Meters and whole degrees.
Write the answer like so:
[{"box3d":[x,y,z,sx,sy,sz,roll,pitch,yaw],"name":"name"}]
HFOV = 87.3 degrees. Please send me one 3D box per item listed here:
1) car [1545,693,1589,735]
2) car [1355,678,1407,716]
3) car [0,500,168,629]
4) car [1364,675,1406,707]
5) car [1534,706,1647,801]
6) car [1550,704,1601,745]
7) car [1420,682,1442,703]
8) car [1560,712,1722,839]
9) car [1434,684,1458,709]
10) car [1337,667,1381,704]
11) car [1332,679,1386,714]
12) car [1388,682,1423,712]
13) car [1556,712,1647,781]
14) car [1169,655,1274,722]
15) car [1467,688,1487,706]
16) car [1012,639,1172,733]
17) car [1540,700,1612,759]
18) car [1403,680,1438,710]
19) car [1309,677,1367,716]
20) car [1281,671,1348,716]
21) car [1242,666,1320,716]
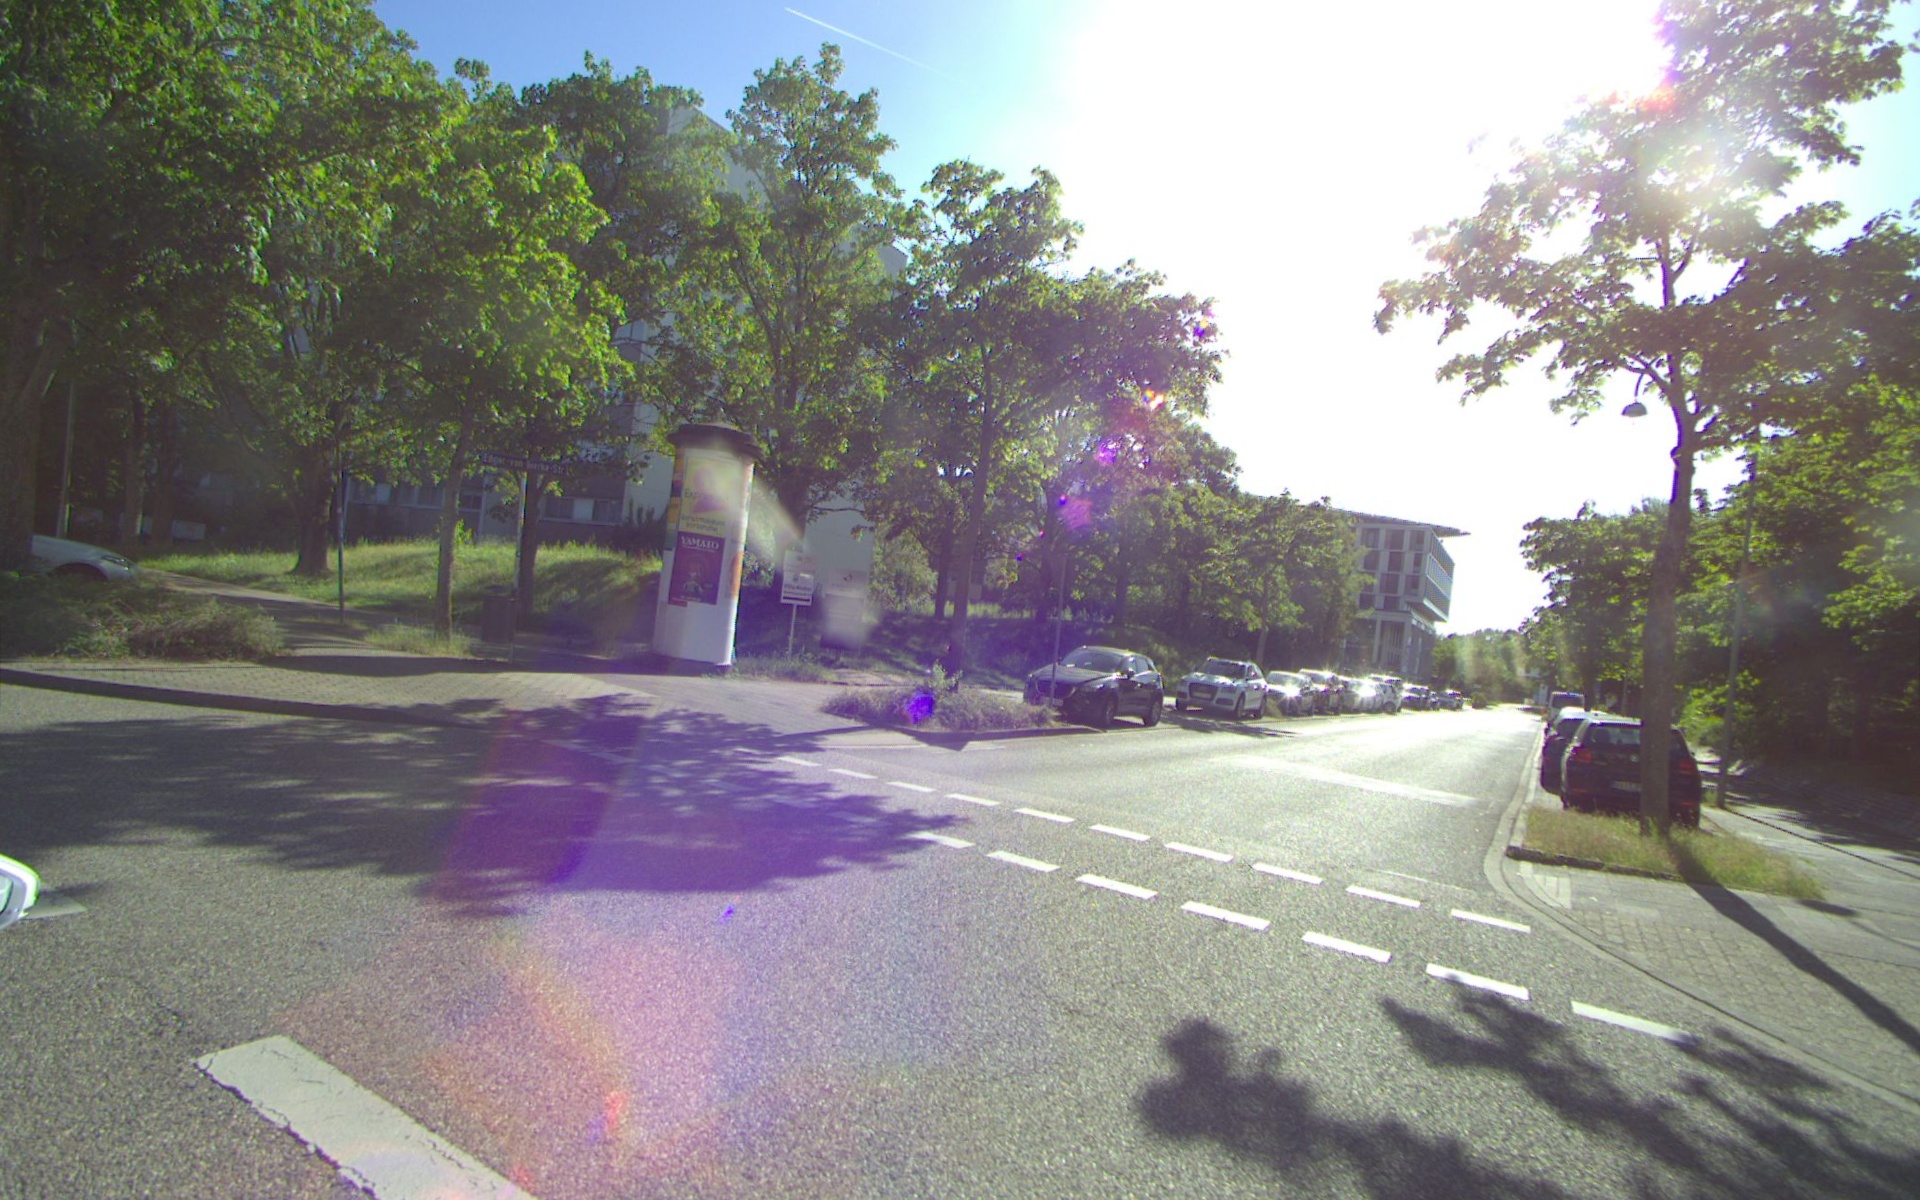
[{"box3d":[36.898,6.930,61.243,1.966,2.206,3.996,6,-2,30],"name":"car"},{"box3d":[23.652,5.445,56.427,1.966,1.820,4.446,6,-2,30],"name":"car"},{"box3d":[-13.311,-0.564,12.987,1.805,1.613,4.433,6,1,28],"name":"car"},{"box3d":[25.716,5.548,60.807,1.735,1.633,3.996,6,-2,30],"name":"car"},{"box3d":[12.557,2.993,20.203,1.623,1.486,3.853,6,-2,30],"name":"car"},{"box3d":[27.966,5.645,45.820,1.618,1.571,3.997,6,-2,29],"name":"car"},{"box3d":[51.655,10.115,110.358,1.964,2.037,4.000,6,-2,25],"name":"car"},{"box3d":[10.336,2.571,15.500,1.741,1.464,3.994,5,-3,32],"name":"car"},{"box3d":[44.535,8.861,92.152,1.648,1.955,3.768,6,-2,29],"name":"car"},{"box3d":[26.025,5.603,65.525,1.966,2.037,3.997,6,-2,29],"name":"car"},{"box3d":[20.522,4.968,51.688,1.889,1.463,3.996,6,-2,30],"name":"car"},{"box3d":[29.936,6.521,67.506,1.648,1.722,3.768,6,-2,29],"name":"car"},{"box3d":[15.344,3.459,24.196,1.526,1.320,3.500,6,-2,30],"name":"car"},{"box3d":[7.888,2.683,30.080,1.804,1.637,4.455,6,-2,30],"name":"car"},{"box3d":[66.374,12.461,129.146,1.964,2.036,4.000,7,-2,25],"name":"car"},{"box3d":[2.847,1.793,20.949,1.804,1.548,3.995,7,-1,30],"name":"car"},{"box3d":[19.319,4.040,31.622,1.682,1.510,3.767,6,-2,31],"name":"car"},{"box3d":[35.693,7.392,77.989,1.966,1.969,3.996,6,-2,30],"name":"car"},{"box3d":[17.580,4.501,46.677,1.804,1.493,4.015,6,-2,30],"name":"car"},{"box3d":[14.669,3.884,41.512,1.804,1.561,4.015,6,-2,30],"name":"car"},{"box3d":[11.795,3.362,36.841,1.804,1.519,4.015,6,-2,30],"name":"car"}]
